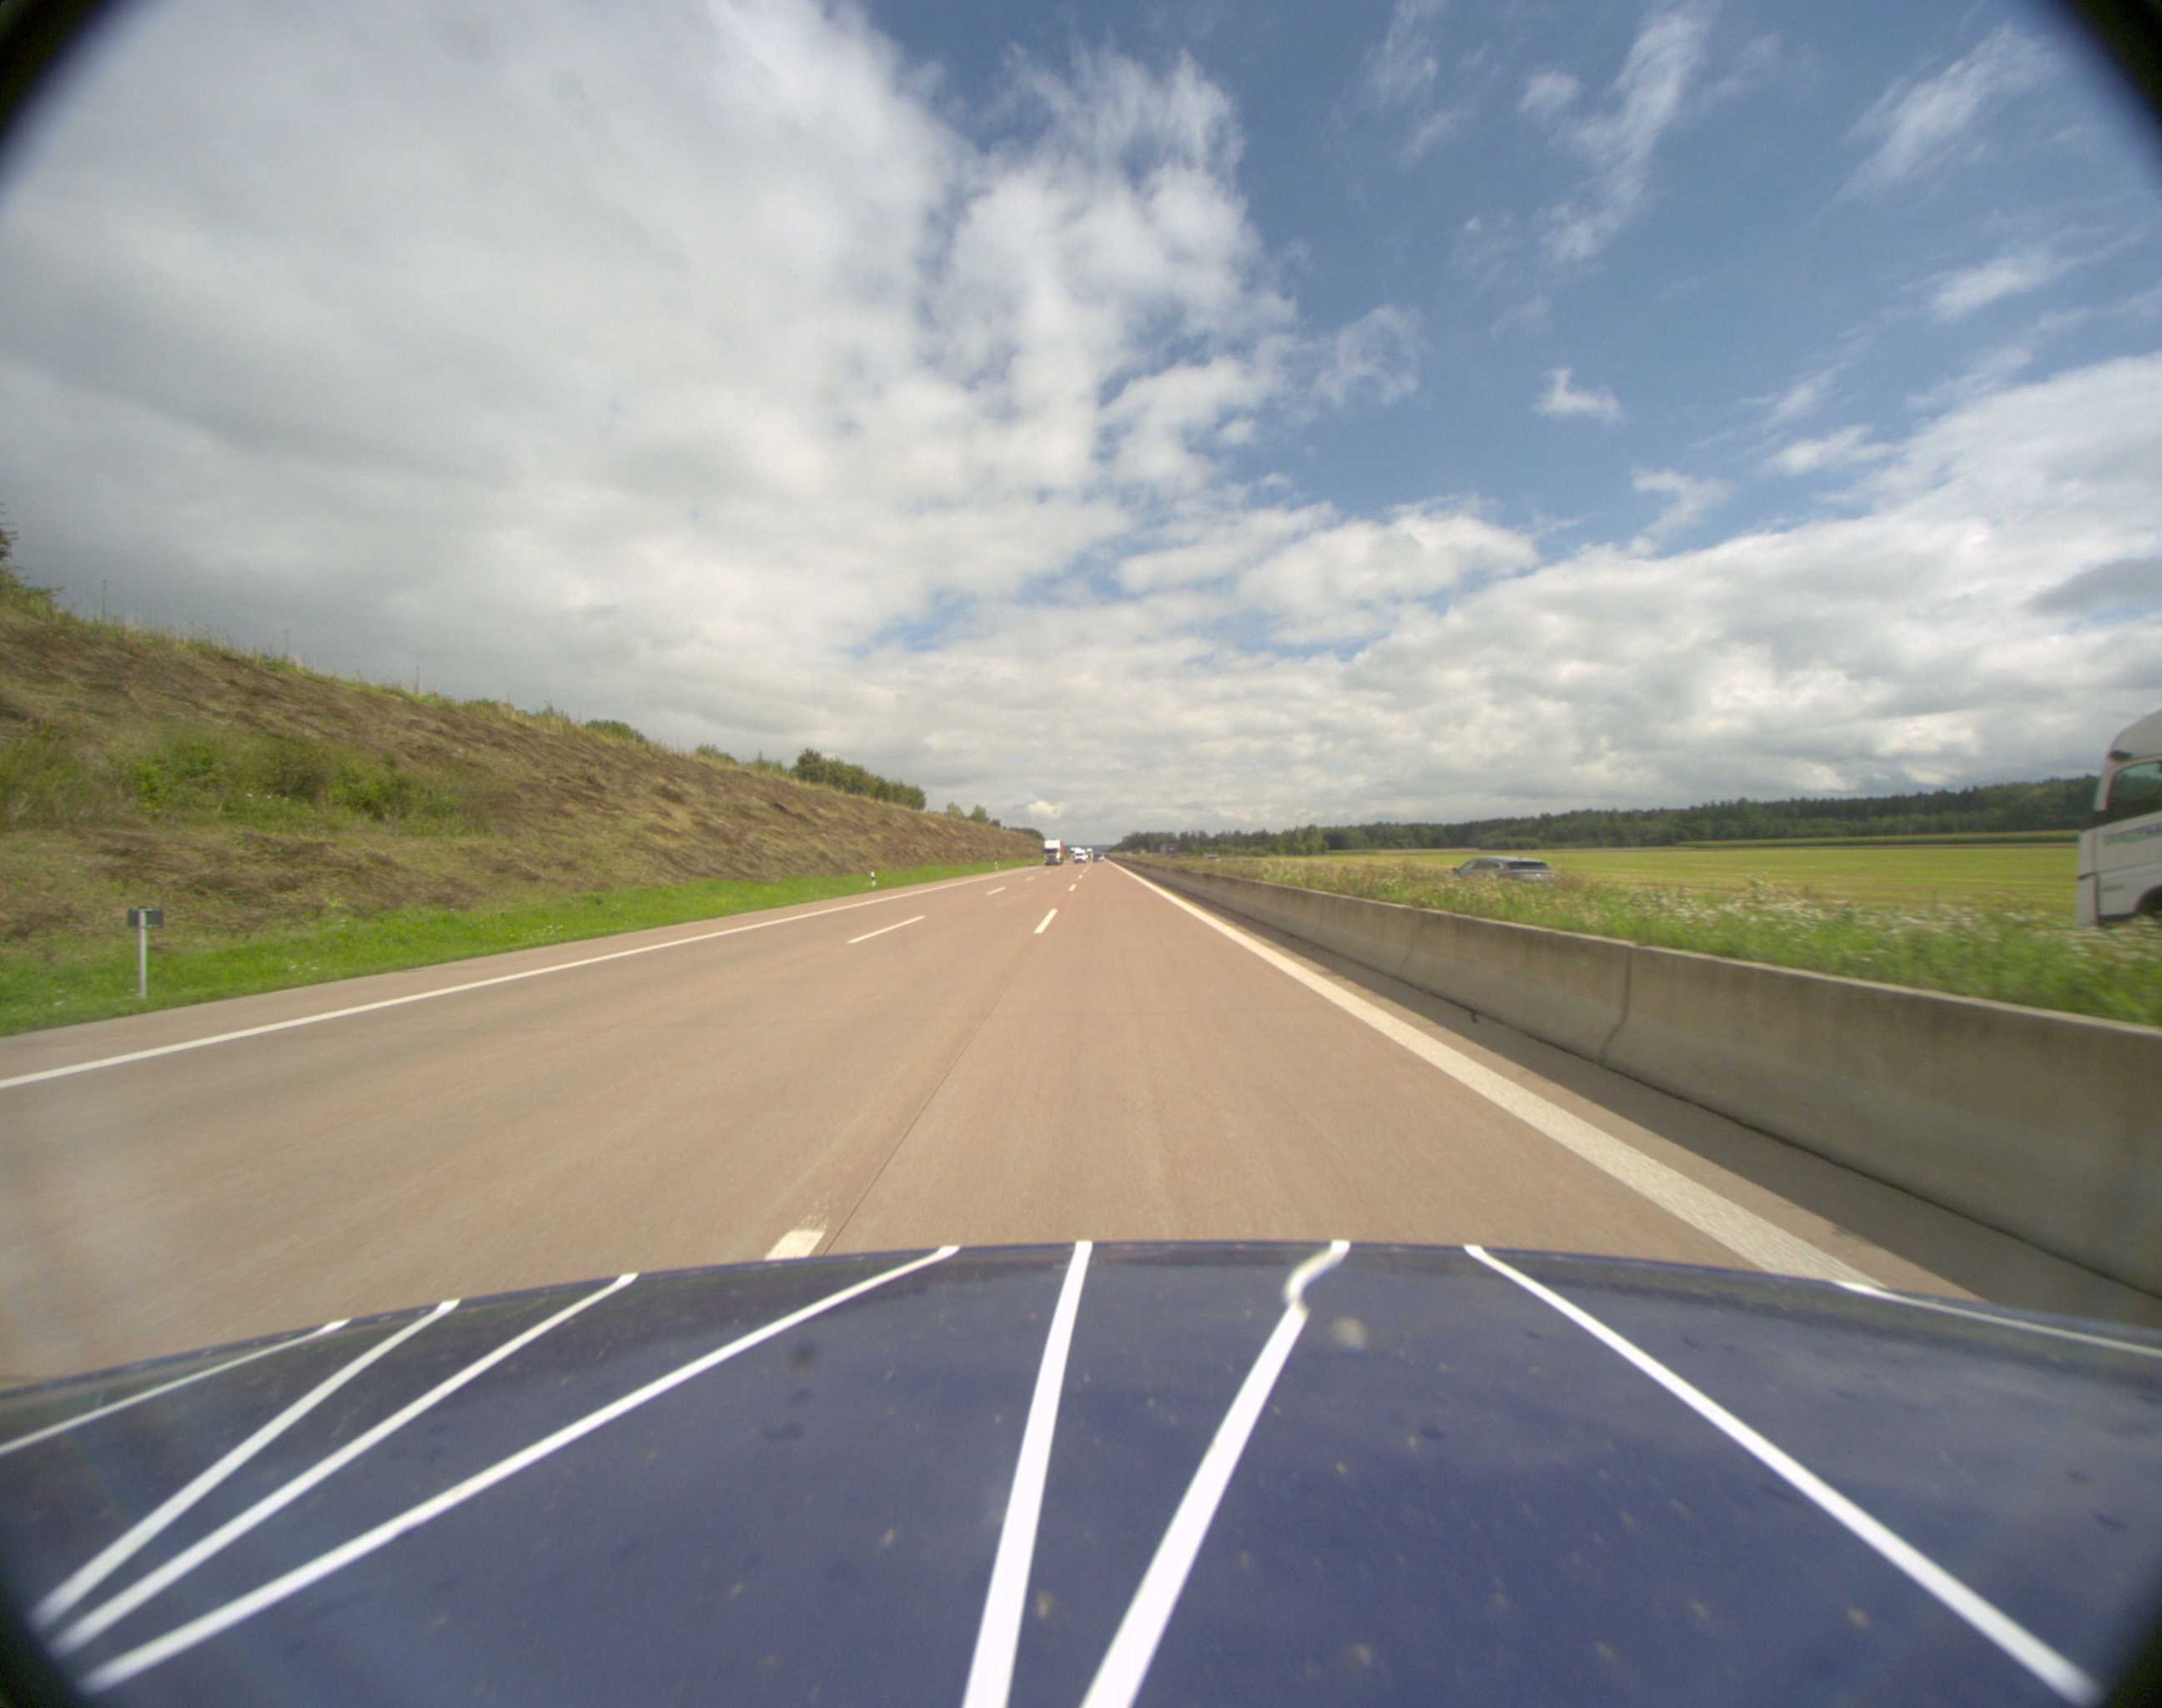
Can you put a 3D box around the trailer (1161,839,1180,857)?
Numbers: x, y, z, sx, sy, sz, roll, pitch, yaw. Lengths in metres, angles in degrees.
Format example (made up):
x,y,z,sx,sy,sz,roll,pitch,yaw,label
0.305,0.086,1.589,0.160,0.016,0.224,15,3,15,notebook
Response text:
x,y,z,sx,sy,sz,roll,pitch,yaw,label
20.510,-1.369,175.233,2.777,3.936,14.330,-1,0,1,trailer

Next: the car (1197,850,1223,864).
x,y,z,sx,sy,sz,roll,pitch,yaw,label
14.318,0.291,84.622,1.999,1.499,4.273,0,1,-1,car

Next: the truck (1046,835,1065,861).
x,y,z,sx,sy,sz,roll,pitch,yaw,label
-4.164,-0.988,126.000,2.680,4.082,6.616,-2,0,1,truck

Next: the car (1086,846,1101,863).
x,y,z,sx,sy,sz,roll,pitch,yaw,label
2.610,0.051,156.976,2.773,3.260,6.393,-3,0,2,car

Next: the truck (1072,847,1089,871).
x,y,z,sx,sy,sz,roll,pitch,yaw,label
-0.058,0.896,143.957,2.681,4.333,11.809,-3,0,1,truck

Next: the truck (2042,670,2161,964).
x,y,z,sx,sy,sz,roll,pitch,yaw,label
16.512,-0.572,8.710,3.214,4.074,6.127,-3,0,2,truck

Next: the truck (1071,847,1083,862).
x,y,z,sx,sy,sz,roll,pitch,yaw,label
-1.128,0.010,232.695,3.107,4.333,11.257,-3,0,1,truck

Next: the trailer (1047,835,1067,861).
x,y,z,sx,sy,sz,roll,pitch,yaw,label
-4.023,-0.993,132.143,2.679,4.069,12.789,-2,0,1,trailer

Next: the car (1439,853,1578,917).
x,y,z,sx,sy,sz,roll,pitch,yaw,label
13.116,0.878,23.687,1.777,1.738,4.471,-3,0,0,car
